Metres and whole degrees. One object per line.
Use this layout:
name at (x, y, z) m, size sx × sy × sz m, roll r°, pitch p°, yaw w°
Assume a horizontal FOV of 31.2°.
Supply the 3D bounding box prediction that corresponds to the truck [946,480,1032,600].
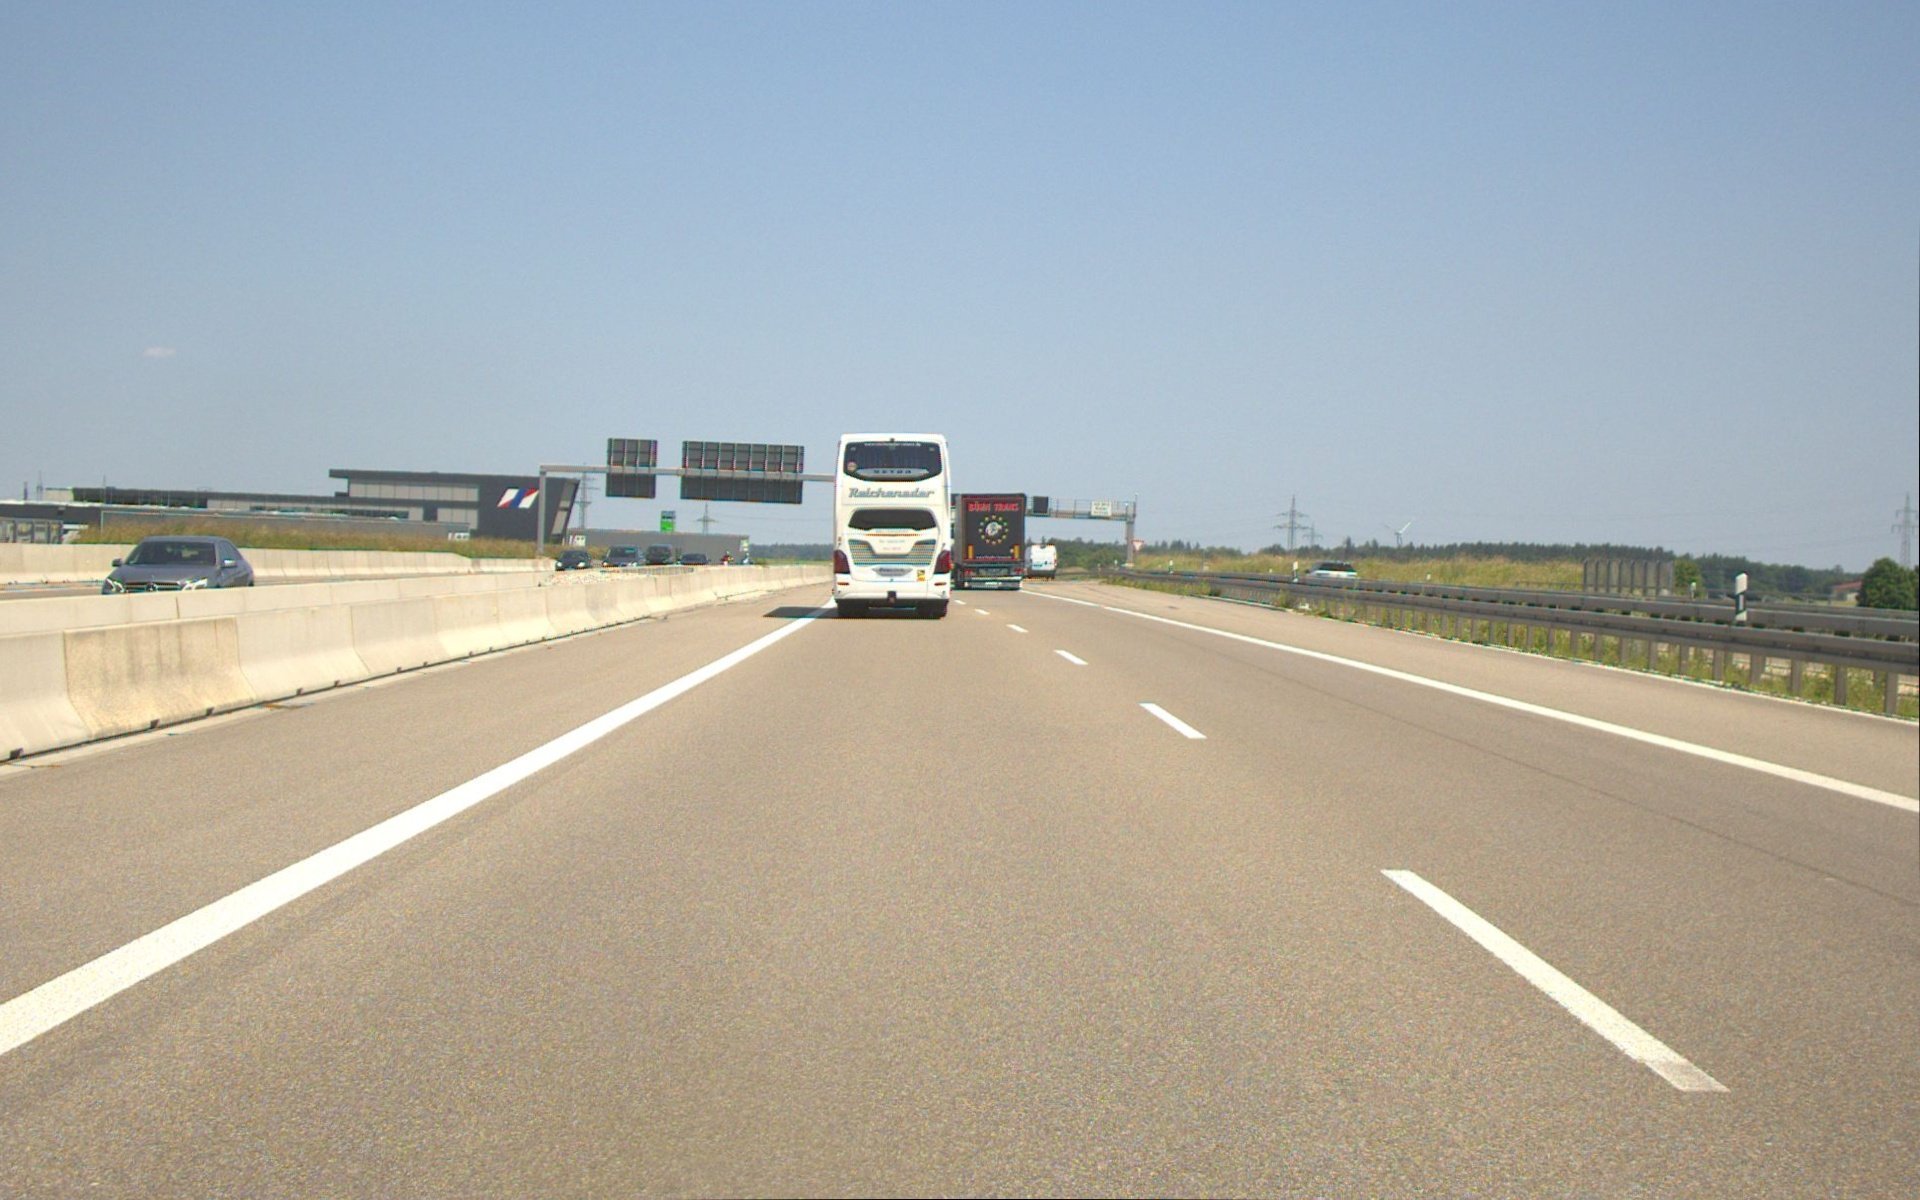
truck at (1.311, -2.433, 145.982) m, size 3.379 × 4.449 × 13.565 m, roll 2°, pitch -1°, yaw 1°

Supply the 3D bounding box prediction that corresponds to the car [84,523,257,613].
car at (-13.105, -0.559, 57.331) m, size 1.842 × 1.415 × 4.525 m, roll 1°, pitch 1°, yaw 0°

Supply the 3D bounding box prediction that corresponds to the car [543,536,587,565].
car at (-20.703, -2.605, 180.133) m, size 1.910 × 1.454 × 4.285 m, roll 1°, pitch 1°, yaw -2°

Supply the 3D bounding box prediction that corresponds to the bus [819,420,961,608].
bus at (-1.636, -1.927, 77.969) m, size 2.980 × 3.961 × 9.106 m, roll 1°, pitch 1°, yaw -2°

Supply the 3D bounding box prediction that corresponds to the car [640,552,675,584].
car at (-20.002, -2.130, 227.606) m, size 1.885 × 2.011 × 4.735 m, roll 1°, pitch 1°, yaw 0°

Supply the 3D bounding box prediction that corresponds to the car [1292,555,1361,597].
car at (14.054, -0.930, 132.001) m, size 1.890 × 1.524 × 4.263 m, roll 1°, pitch 1°, yaw -4°

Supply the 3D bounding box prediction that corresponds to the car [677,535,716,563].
car at (-16.189, -3.146, 211.539) m, size 1.993 × 1.663 × 4.649 m, roll 1°, pitch 1°, yaw 1°

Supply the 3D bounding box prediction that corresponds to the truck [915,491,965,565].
truck at (-1.077, -3.733, 178.745) m, size 2.437 × 3.776 × 6.494 m, roll 1°, pitch 1°, yaw -1°

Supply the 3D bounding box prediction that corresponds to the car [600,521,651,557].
car at (-15.938, -2.890, 164.117) m, size 1.885 × 1.680 × 5.015 m, roll 1°, pitch 1°, yaw 0°

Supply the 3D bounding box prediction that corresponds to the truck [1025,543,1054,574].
truck at (6.058, -3.159, 261.849) m, size 1.993 × 2.335 × 4.951 m, roll 1°, pitch 1°, yaw -1°
